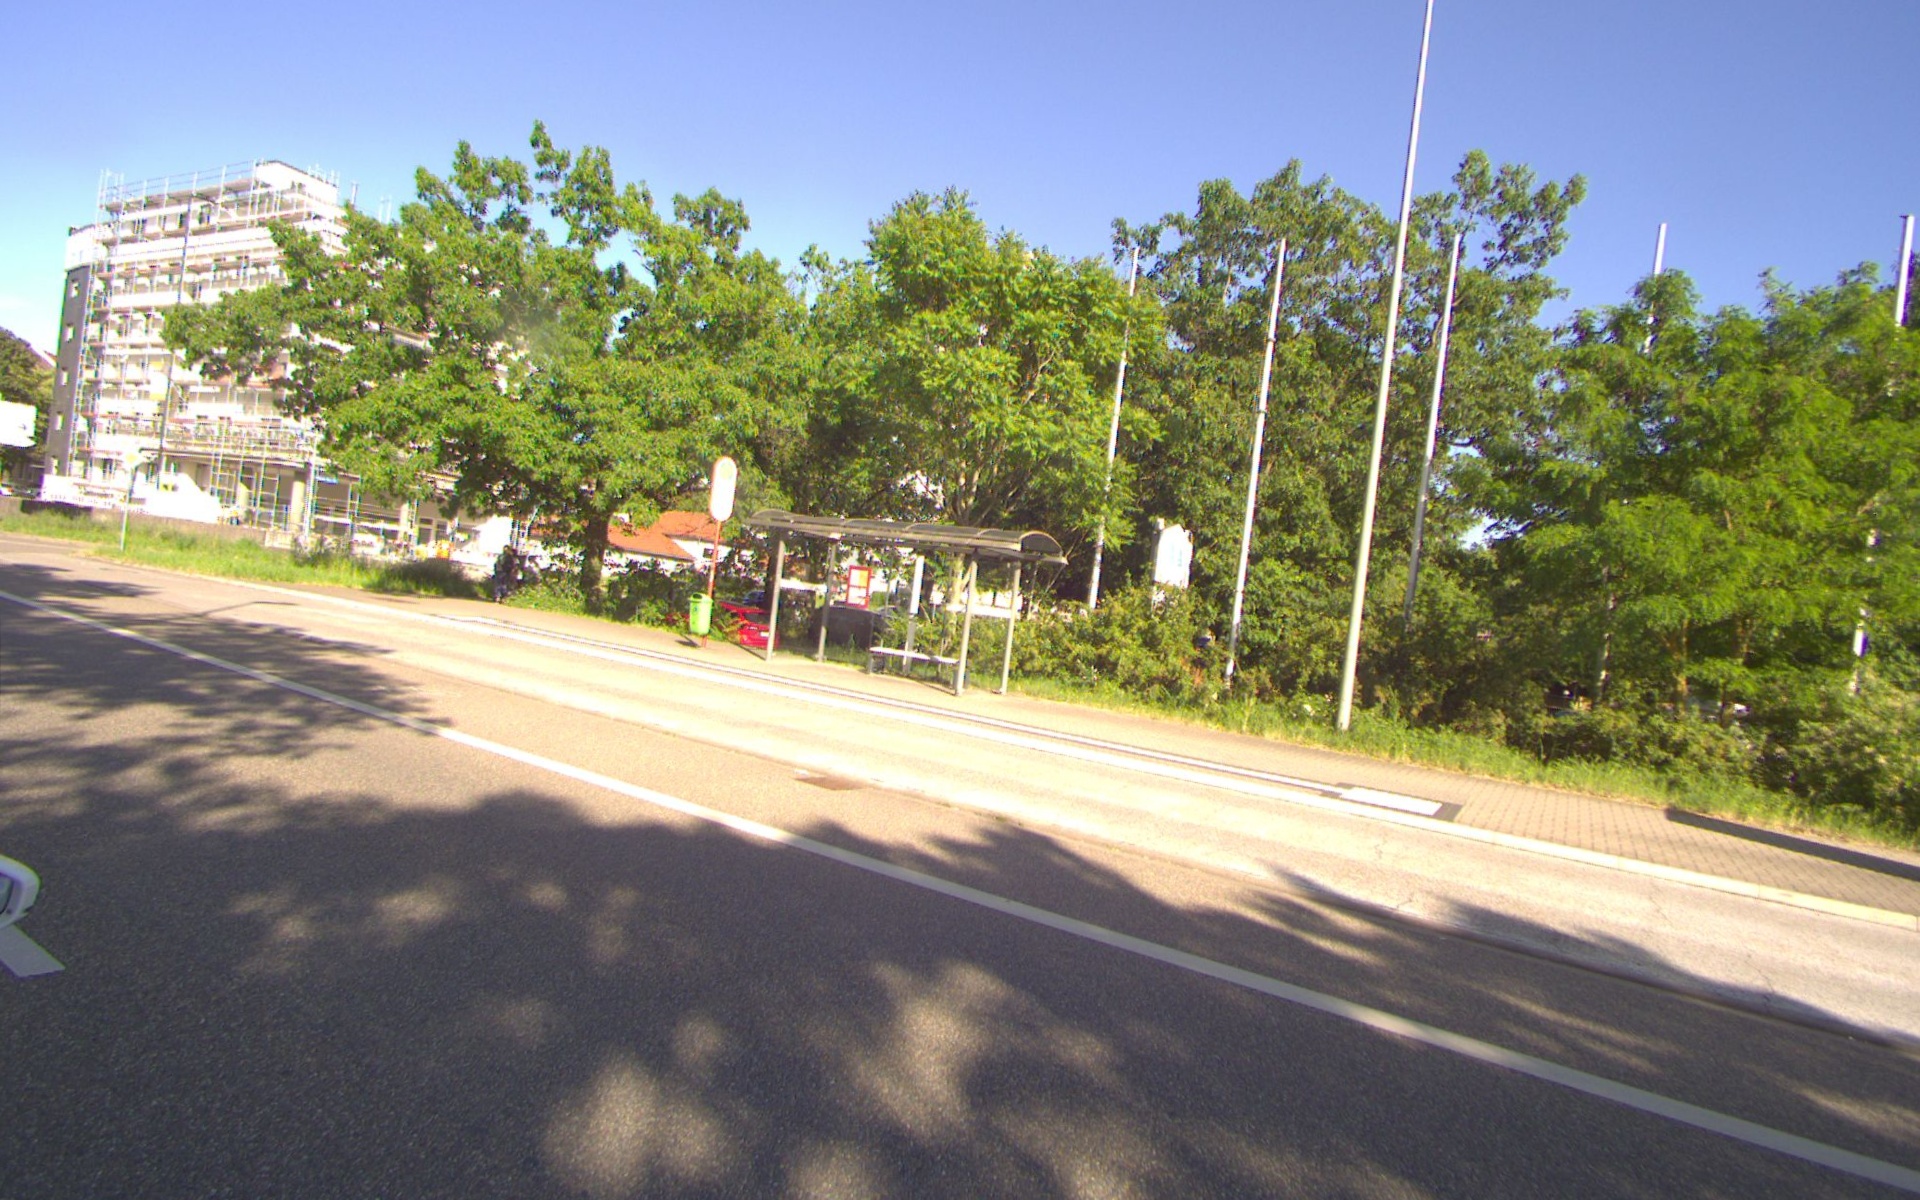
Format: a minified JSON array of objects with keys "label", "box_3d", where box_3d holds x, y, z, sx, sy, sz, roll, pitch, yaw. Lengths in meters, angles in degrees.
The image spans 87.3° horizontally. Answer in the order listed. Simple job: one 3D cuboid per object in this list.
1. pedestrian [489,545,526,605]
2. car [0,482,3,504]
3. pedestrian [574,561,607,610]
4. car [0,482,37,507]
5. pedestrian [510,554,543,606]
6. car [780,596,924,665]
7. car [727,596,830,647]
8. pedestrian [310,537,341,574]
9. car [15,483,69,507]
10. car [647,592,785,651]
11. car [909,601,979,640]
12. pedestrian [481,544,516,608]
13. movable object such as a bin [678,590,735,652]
[{"label":"pedestrian","box_3d":[-13.135,-0.728,29.203,0.542,1.655,0.622,8,1,32]},{"label":"car","box_3d":[-64.882,-7.227,66.097,1.759,1.460,3.595,8,0,-25]},{"label":"pedestrian","box_3d":[-13.094,-0.511,35.643,0.557,1.638,0.705,7,-1,26]},{"label":"car","box_3d":[-66.877,-7.460,70.580,1.802,1.526,3.975,7,0,-24]},{"label":"pedestrian","box_3d":[-13.513,-0.628,31.361,0.604,1.537,0.528,7,0,35]},{"label":"car","box_3d":[-3.868,1.078,35.777,4.811,1.556,1.996,10,0,35]},{"label":"car","box_3d":[-7.715,0.915,42.761,3.938,1.626,1.995,6,-2,35]},{"label":"pedestrian","box_3d":[-29.064,-2.040,46.069,0.892,1.516,0.651,7,0,24]},{"label":"car","box_3d":[-84.084,-9.630,92.133,3.925,1.613,1.911,7,0,19]},{"label":"car","box_3d":[-6.992,0.599,28.686,3.846,1.168,1.399,7,0,31]},{"label":"car","box_3d":[-1.113,1.407,68.780,4.283,2.098,1.995,7,0,35]},{"label":"pedestrian","box_3d":[-13.063,-0.684,28.469,0.403,1.721,0.603,8,1,31]},{"label":"movable object such as a bin","box_3d":[-4.706,0.396,18.697,0.568,1.042,0.727,7,0,31]}]
